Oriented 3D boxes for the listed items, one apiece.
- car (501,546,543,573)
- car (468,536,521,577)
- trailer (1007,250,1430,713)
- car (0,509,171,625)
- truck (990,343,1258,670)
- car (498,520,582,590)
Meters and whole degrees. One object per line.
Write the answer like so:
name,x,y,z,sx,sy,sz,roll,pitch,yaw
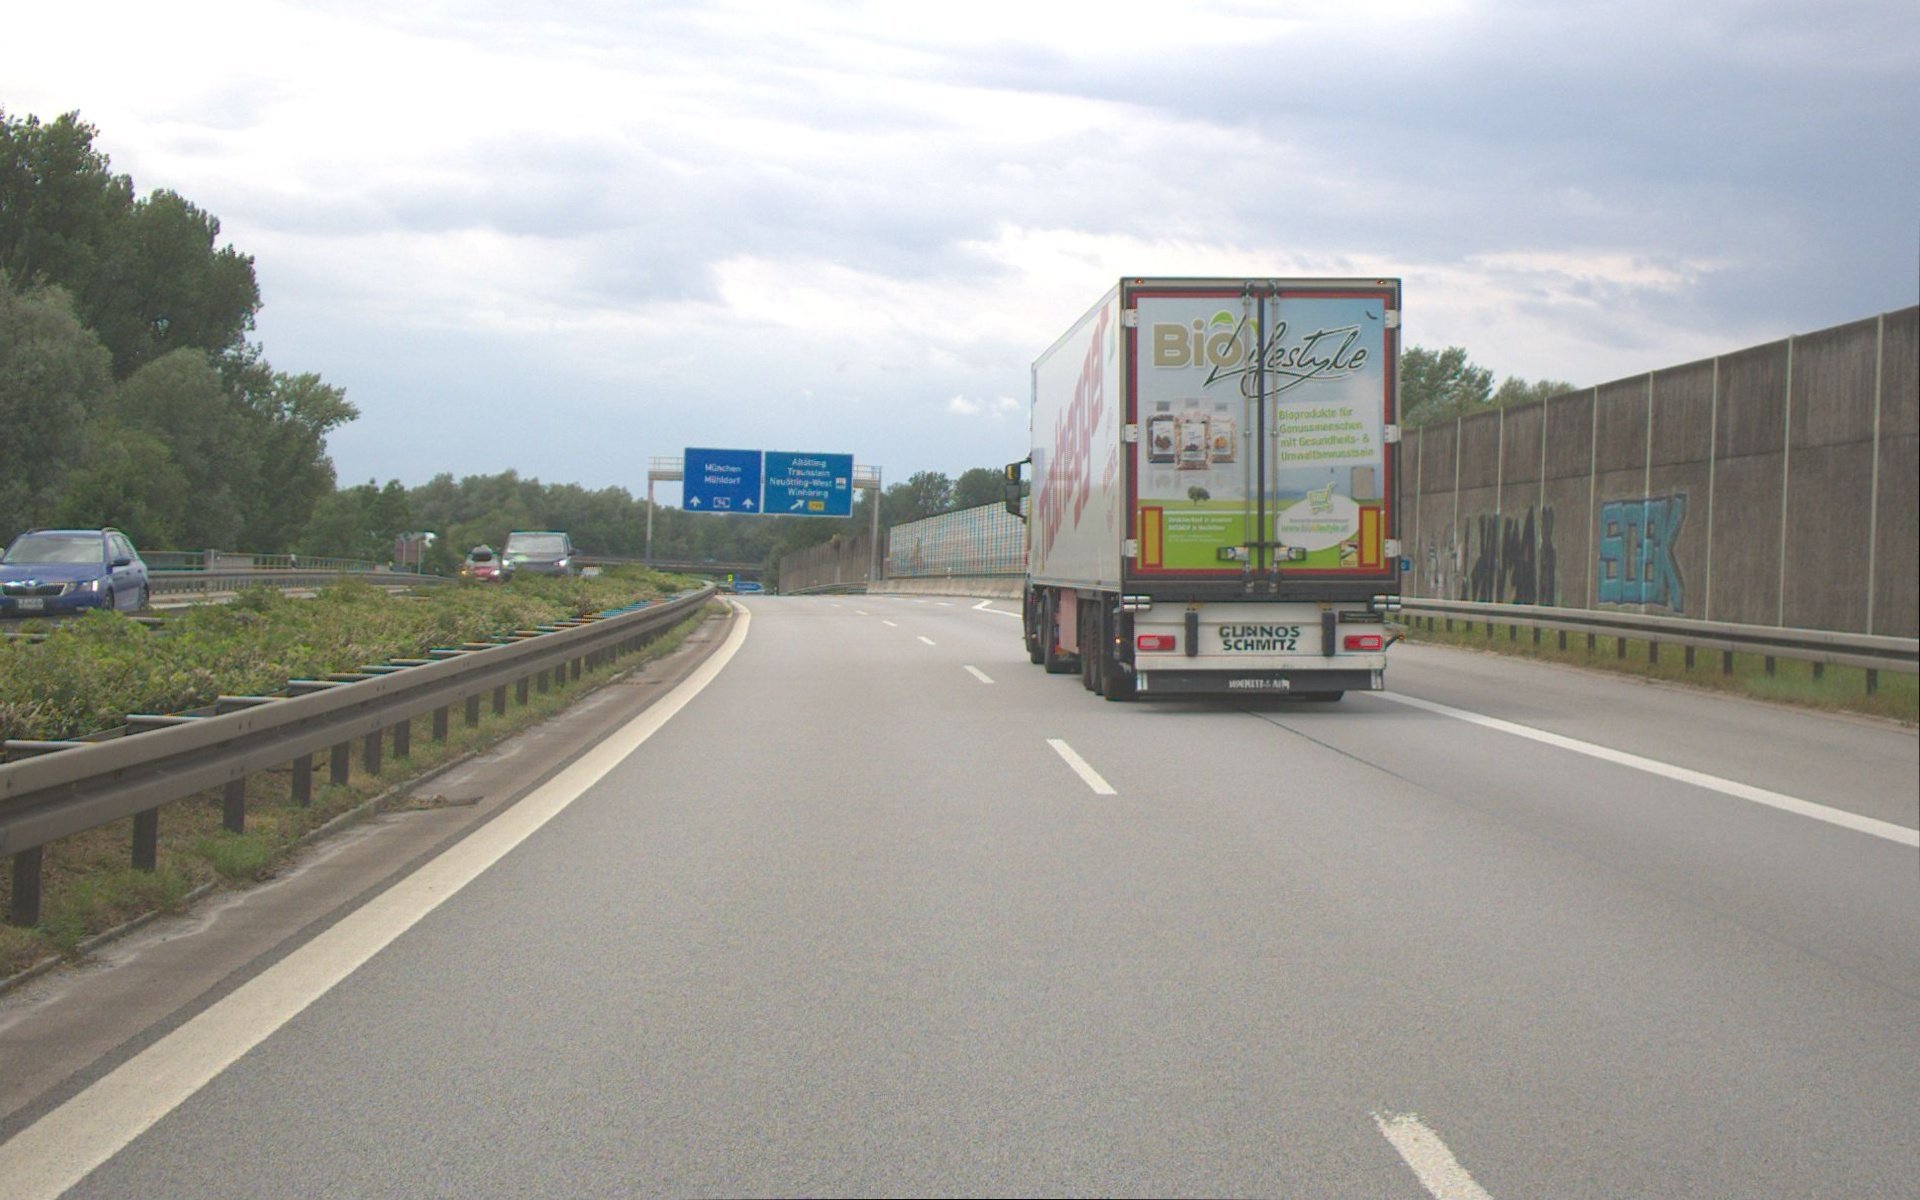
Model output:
car,-22.904,-2.125,179.908,1.969,1.399,4.710,0,1,-4
car,-20.200,-1.895,149.276,1.969,1.755,4.945,1,1,-4
trailer,2.443,-1.175,38.139,2.792,4.160,14.105,0,1,-3
car,-12.512,-0.489,48.625,1.811,1.541,4.517,1,1,-2
truck,2.021,-1.171,44.597,2.755,3.946,5.678,0,1,-4
car,-11.627,-1.272,95.430,1.993,1.879,4.556,1,1,-3
